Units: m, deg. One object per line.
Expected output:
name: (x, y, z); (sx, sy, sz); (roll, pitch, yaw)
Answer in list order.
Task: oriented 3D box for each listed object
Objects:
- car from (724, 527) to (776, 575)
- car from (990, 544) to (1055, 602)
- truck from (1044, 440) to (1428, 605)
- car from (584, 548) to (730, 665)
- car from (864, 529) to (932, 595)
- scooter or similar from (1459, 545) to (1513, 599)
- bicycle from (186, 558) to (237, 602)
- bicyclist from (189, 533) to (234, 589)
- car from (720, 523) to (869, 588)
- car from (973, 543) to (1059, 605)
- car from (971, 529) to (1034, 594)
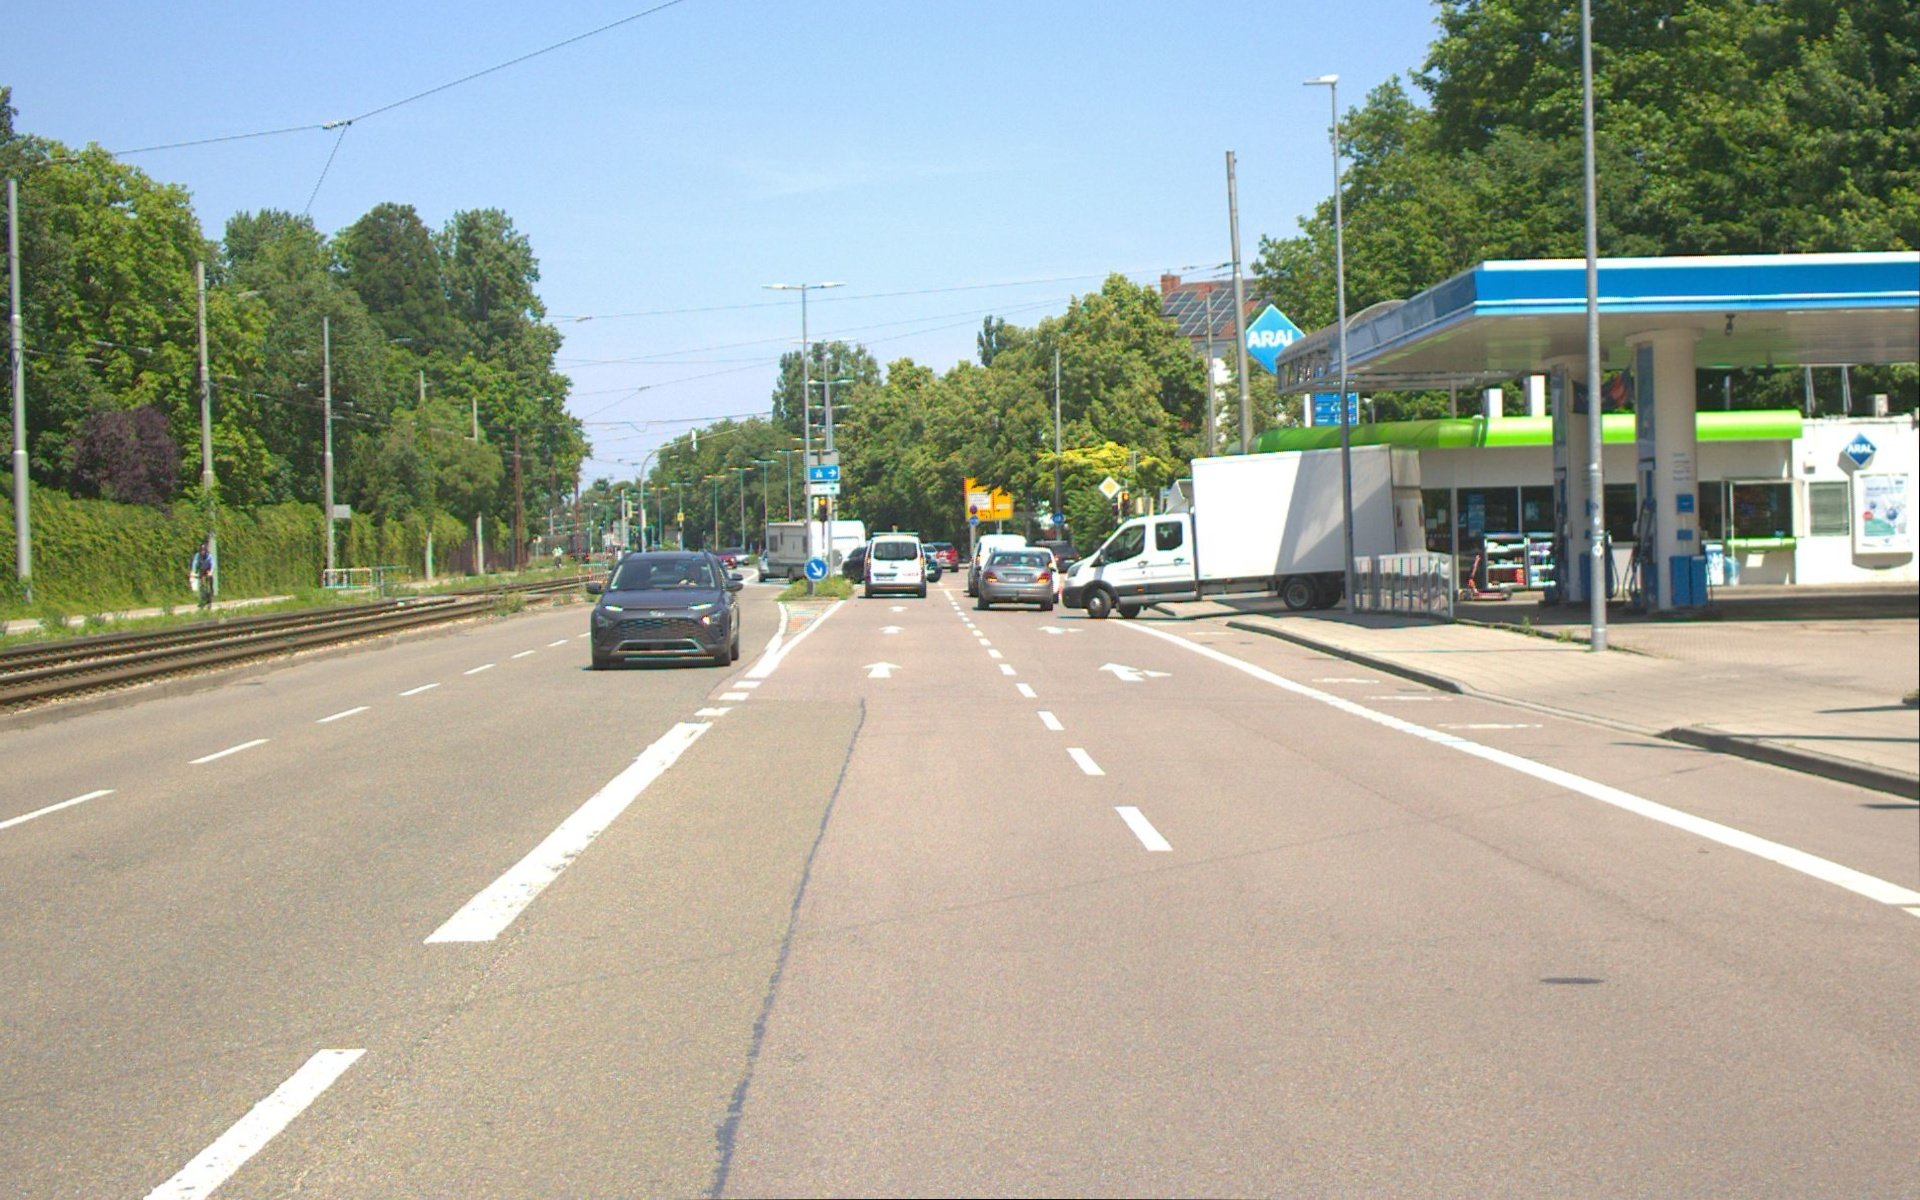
car: (-9.123, -2.139, 149.363); (1.993, 2.007, 4.001); (-1, 1, -7)
car: (1.624, -0.728, 90.085); (1.607, 1.446, 3.521); (1, 1, 0)
truck: (5.910, -1.627, 73.927); (7.817, 3.380, 2.425); (0, 1, 23)
car: (-3.906, 0.051, 44.824); (1.713, 1.417, 4.142); (-1, 1, -3)
car: (-1.802, -1.105, 98.372); (1.866, 1.829, 3.849); (1, 1, -2)
scooter or similar: (11.695, -0.617, 76.420); (1.135, 1.172, 0.384); (-1, 1, 0)
bicycle: (-20.323, -0.549, 93.432); (0.828, 1.152, 2.685); (-1, 1, -1)
bicyclist: (-20.327, -1.061, 93.365); (0.994, 1.481, 1.000); (-1, 1, -2)
car: (-6.566, -1.760, 135.897); (2.697, 2.508, 6.219); (-2, 1, -39)
car: (1.318, -0.644, 82.995); (1.770, 1.415, 4.001); (-1, 1, -3)
car: (1.222, -1.119, 99.729); (1.710, 1.824, 4.014); (-1, 1, -1)
